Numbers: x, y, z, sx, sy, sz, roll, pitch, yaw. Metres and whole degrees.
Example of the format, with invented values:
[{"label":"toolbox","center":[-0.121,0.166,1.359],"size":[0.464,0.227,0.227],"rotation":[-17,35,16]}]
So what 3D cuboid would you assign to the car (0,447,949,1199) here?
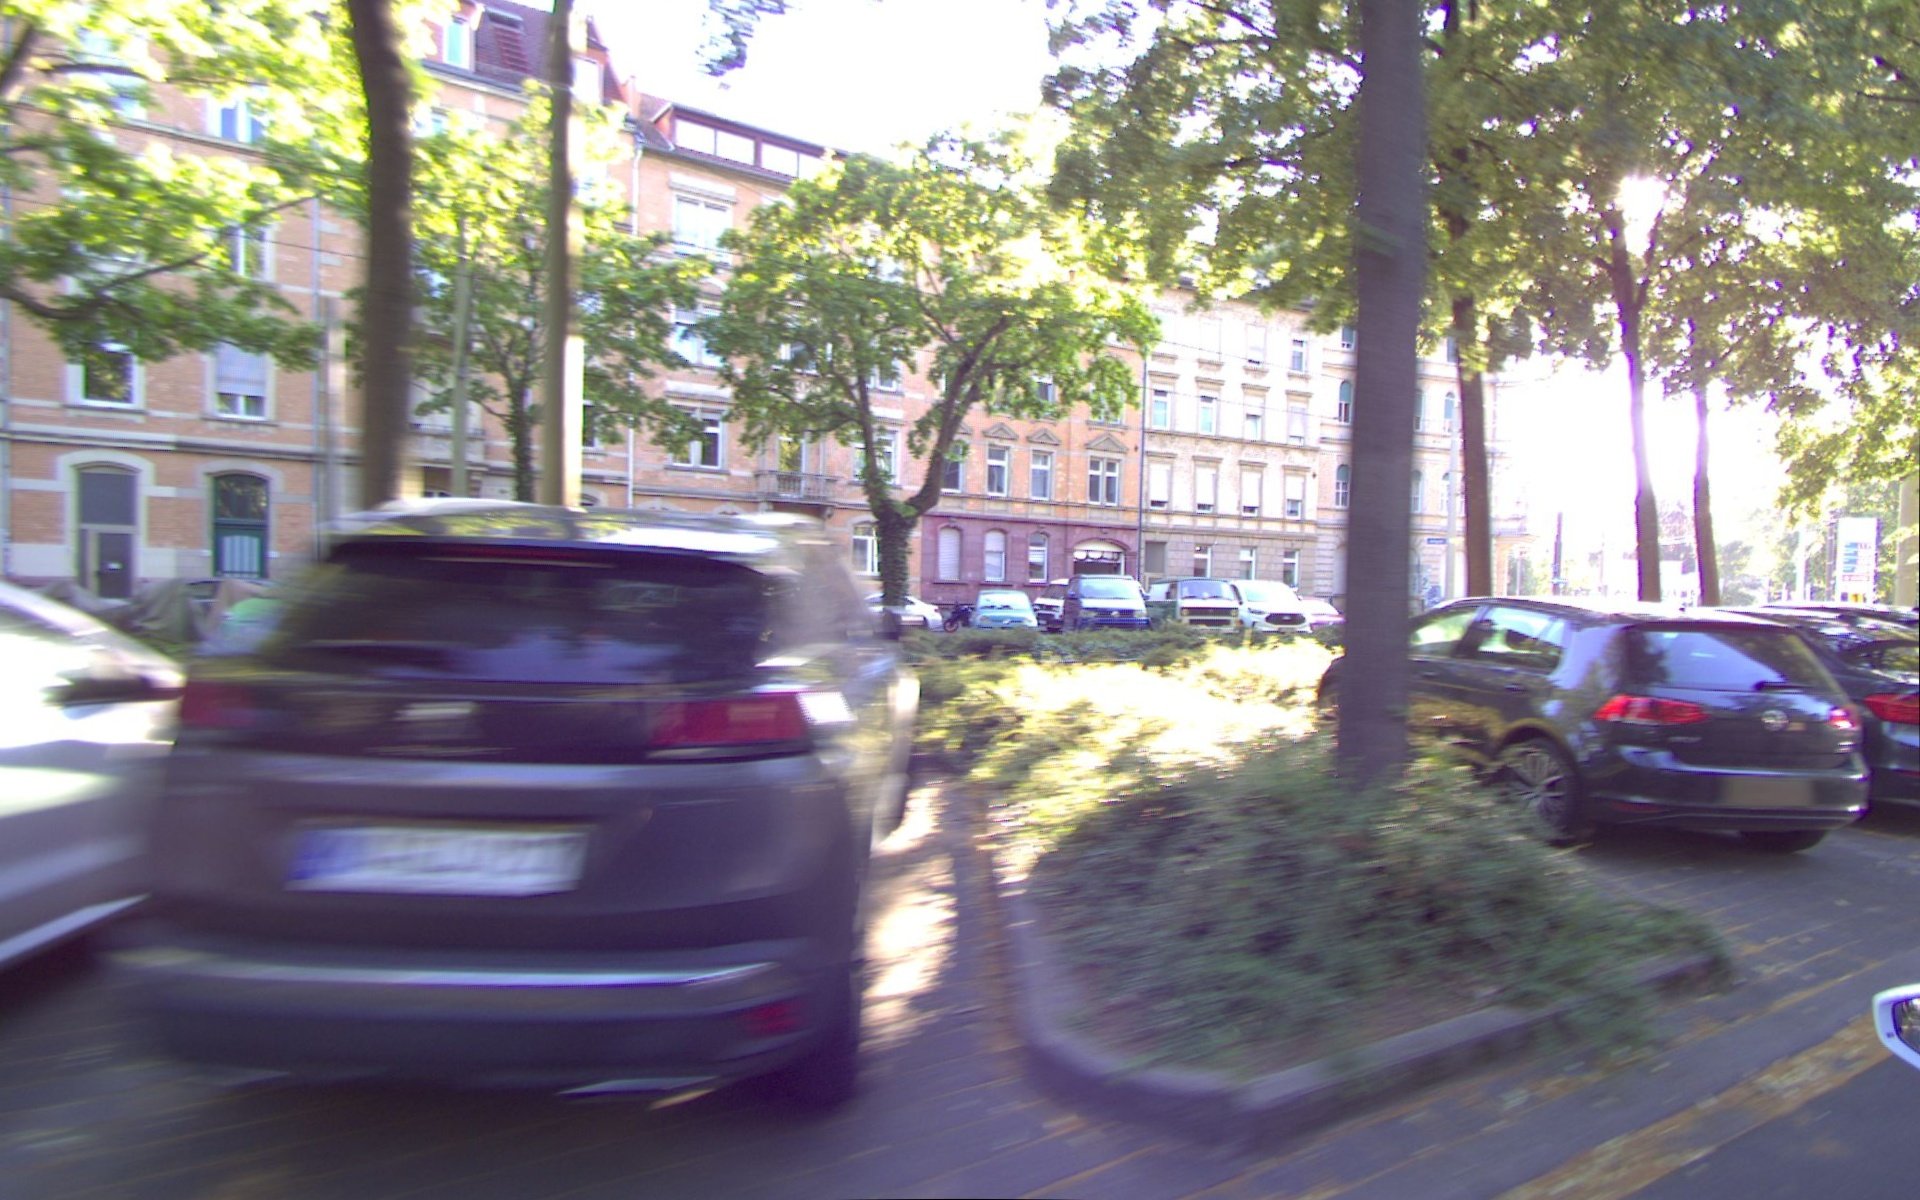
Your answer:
[{"label":"car","center":[-1.074,0.452,4.199],"size":[1.904,1.648,4.356],"rotation":[3,3,-2]}]

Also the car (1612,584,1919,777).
[{"label":"car","center":[9.072,0.708,10.468],"size":[1.797,1.514,3.881],"rotation":[3,3,-3]}]

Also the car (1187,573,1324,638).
[{"label":"car","center":[8.873,0.150,30.687],"size":[2.047,1.788,5.051],"rotation":[1,0,-8]}]

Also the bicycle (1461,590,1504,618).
[{"label":"bicycle","center":[27.056,0.210,52.010],"size":[2.094,1.147,0.500],"rotation":[8,3,-18]}]

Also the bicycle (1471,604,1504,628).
[{"label":"bicycle","center":[28.459,0.870,54.179],"size":[1.765,1.222,0.500],"rotation":[1,4,-22]}]

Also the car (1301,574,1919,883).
[{"label":"car","center":[4.173,0.648,7.212],"size":[1.797,1.458,3.868],"rotation":[3,3,-5]}]

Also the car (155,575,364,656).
[{"label":"car","center":[-16.559,0.360,23.975],"size":[3.957,1.799,1.783],"rotation":[1,0,-33]}]

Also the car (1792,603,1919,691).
[{"label":"car","center":[17.676,0.897,17.803],"size":[1.744,1.449,4.282],"rotation":[2,2,-13]}]

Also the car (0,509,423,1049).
[{"label":"car","center":[-3.512,0.461,2.926],"size":[1.737,1.479,4.158],"rotation":[3,3,-2]}]

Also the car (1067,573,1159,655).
[{"label":"car","center":[4.119,0.350,27.590],"size":[1.960,2.040,4.000],"rotation":[1,0,1]}]

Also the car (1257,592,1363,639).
[{"label":"car","center":[10.884,0.441,31.466],"size":[1.685,1.347,3.629],"rotation":[1,0,-7]}]

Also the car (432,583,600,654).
[{"label":"car","center":[-12.038,0.486,27.323],"size":[3.957,1.799,1.783],"rotation":[1,1,-33]}]

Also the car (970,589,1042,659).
[{"label":"car","center":[1.120,0.563,25.986],"size":[1.628,1.662,3.650],"rotation":[1,0,-1]}]

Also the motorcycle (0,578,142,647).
[{"label":"motorcycle","center":[-13.344,0.167,15.005],"size":[1.002,0.968,1.724],"rotation":[1,0,-10]}]

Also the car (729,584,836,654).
[{"label":"car","center":[-3.873,0.375,22.533],"size":[1.562,1.399,4.289],"rotation":[1,0,1]}]

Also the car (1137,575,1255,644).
[{"label":"car","center":[6.675,0.233,28.961],"size":[2.045,1.788,4.834],"rotation":[1,0,-3]}]

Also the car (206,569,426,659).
[{"label":"car","center":[-11.143,0.210,17.708],"size":[1.675,1.399,3.736],"rotation":[1,0,-4]}]

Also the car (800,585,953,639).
[{"label":"car","center":[-2.713,0.364,33.005],"size":[4.720,1.562,1.840],"rotation":[0,4,-33]}]

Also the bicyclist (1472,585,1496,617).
[{"label":"bicyclist","center":[27.118,0.055,51.982],"size":[0.692,1.510,0.591],"rotation":[7,3,-19]}]

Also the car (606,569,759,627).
[{"label":"car","center":[-8.169,-0.087,29.636],"size":[4.015,1.539,1.840],"rotation":[0,4,-33]}]

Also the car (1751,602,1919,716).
[{"label":"car","center":[13.569,0.871,13.781],"size":[1.745,1.383,3.973],"rotation":[2,3,-14]}]

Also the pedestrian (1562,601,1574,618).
[{"label":"pedestrian","center":[61.807,0.985,102.131],"size":[0.911,1.715,0.777],"rotation":[2,1,21]}]

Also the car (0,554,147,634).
[{"label":"car","center":[-20.032,-0.164,21.795],"size":[3.470,1.604,1.840],"rotation":[0,4,-33]}]

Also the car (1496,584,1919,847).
[{"label":"car","center":[6.641,0.724,8.352],"size":[1.797,1.458,4.196],"rotation":[3,3,-5]}]

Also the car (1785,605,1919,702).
[{"label":"car","center":[15.741,0.904,15.753],"size":[1.745,1.425,4.027],"rotation":[2,2,-15]}]

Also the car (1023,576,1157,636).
[{"label":"car","center":[4.949,0.192,37.998],"size":[4.945,2.091,1.840],"rotation":[0,4,-33]}]

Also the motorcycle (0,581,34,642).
[{"label":"motorcycle","center":[-14.730,0.164,14.393],"size":[1.000,0.901,1.978],"rotation":[1,0,6]}]
